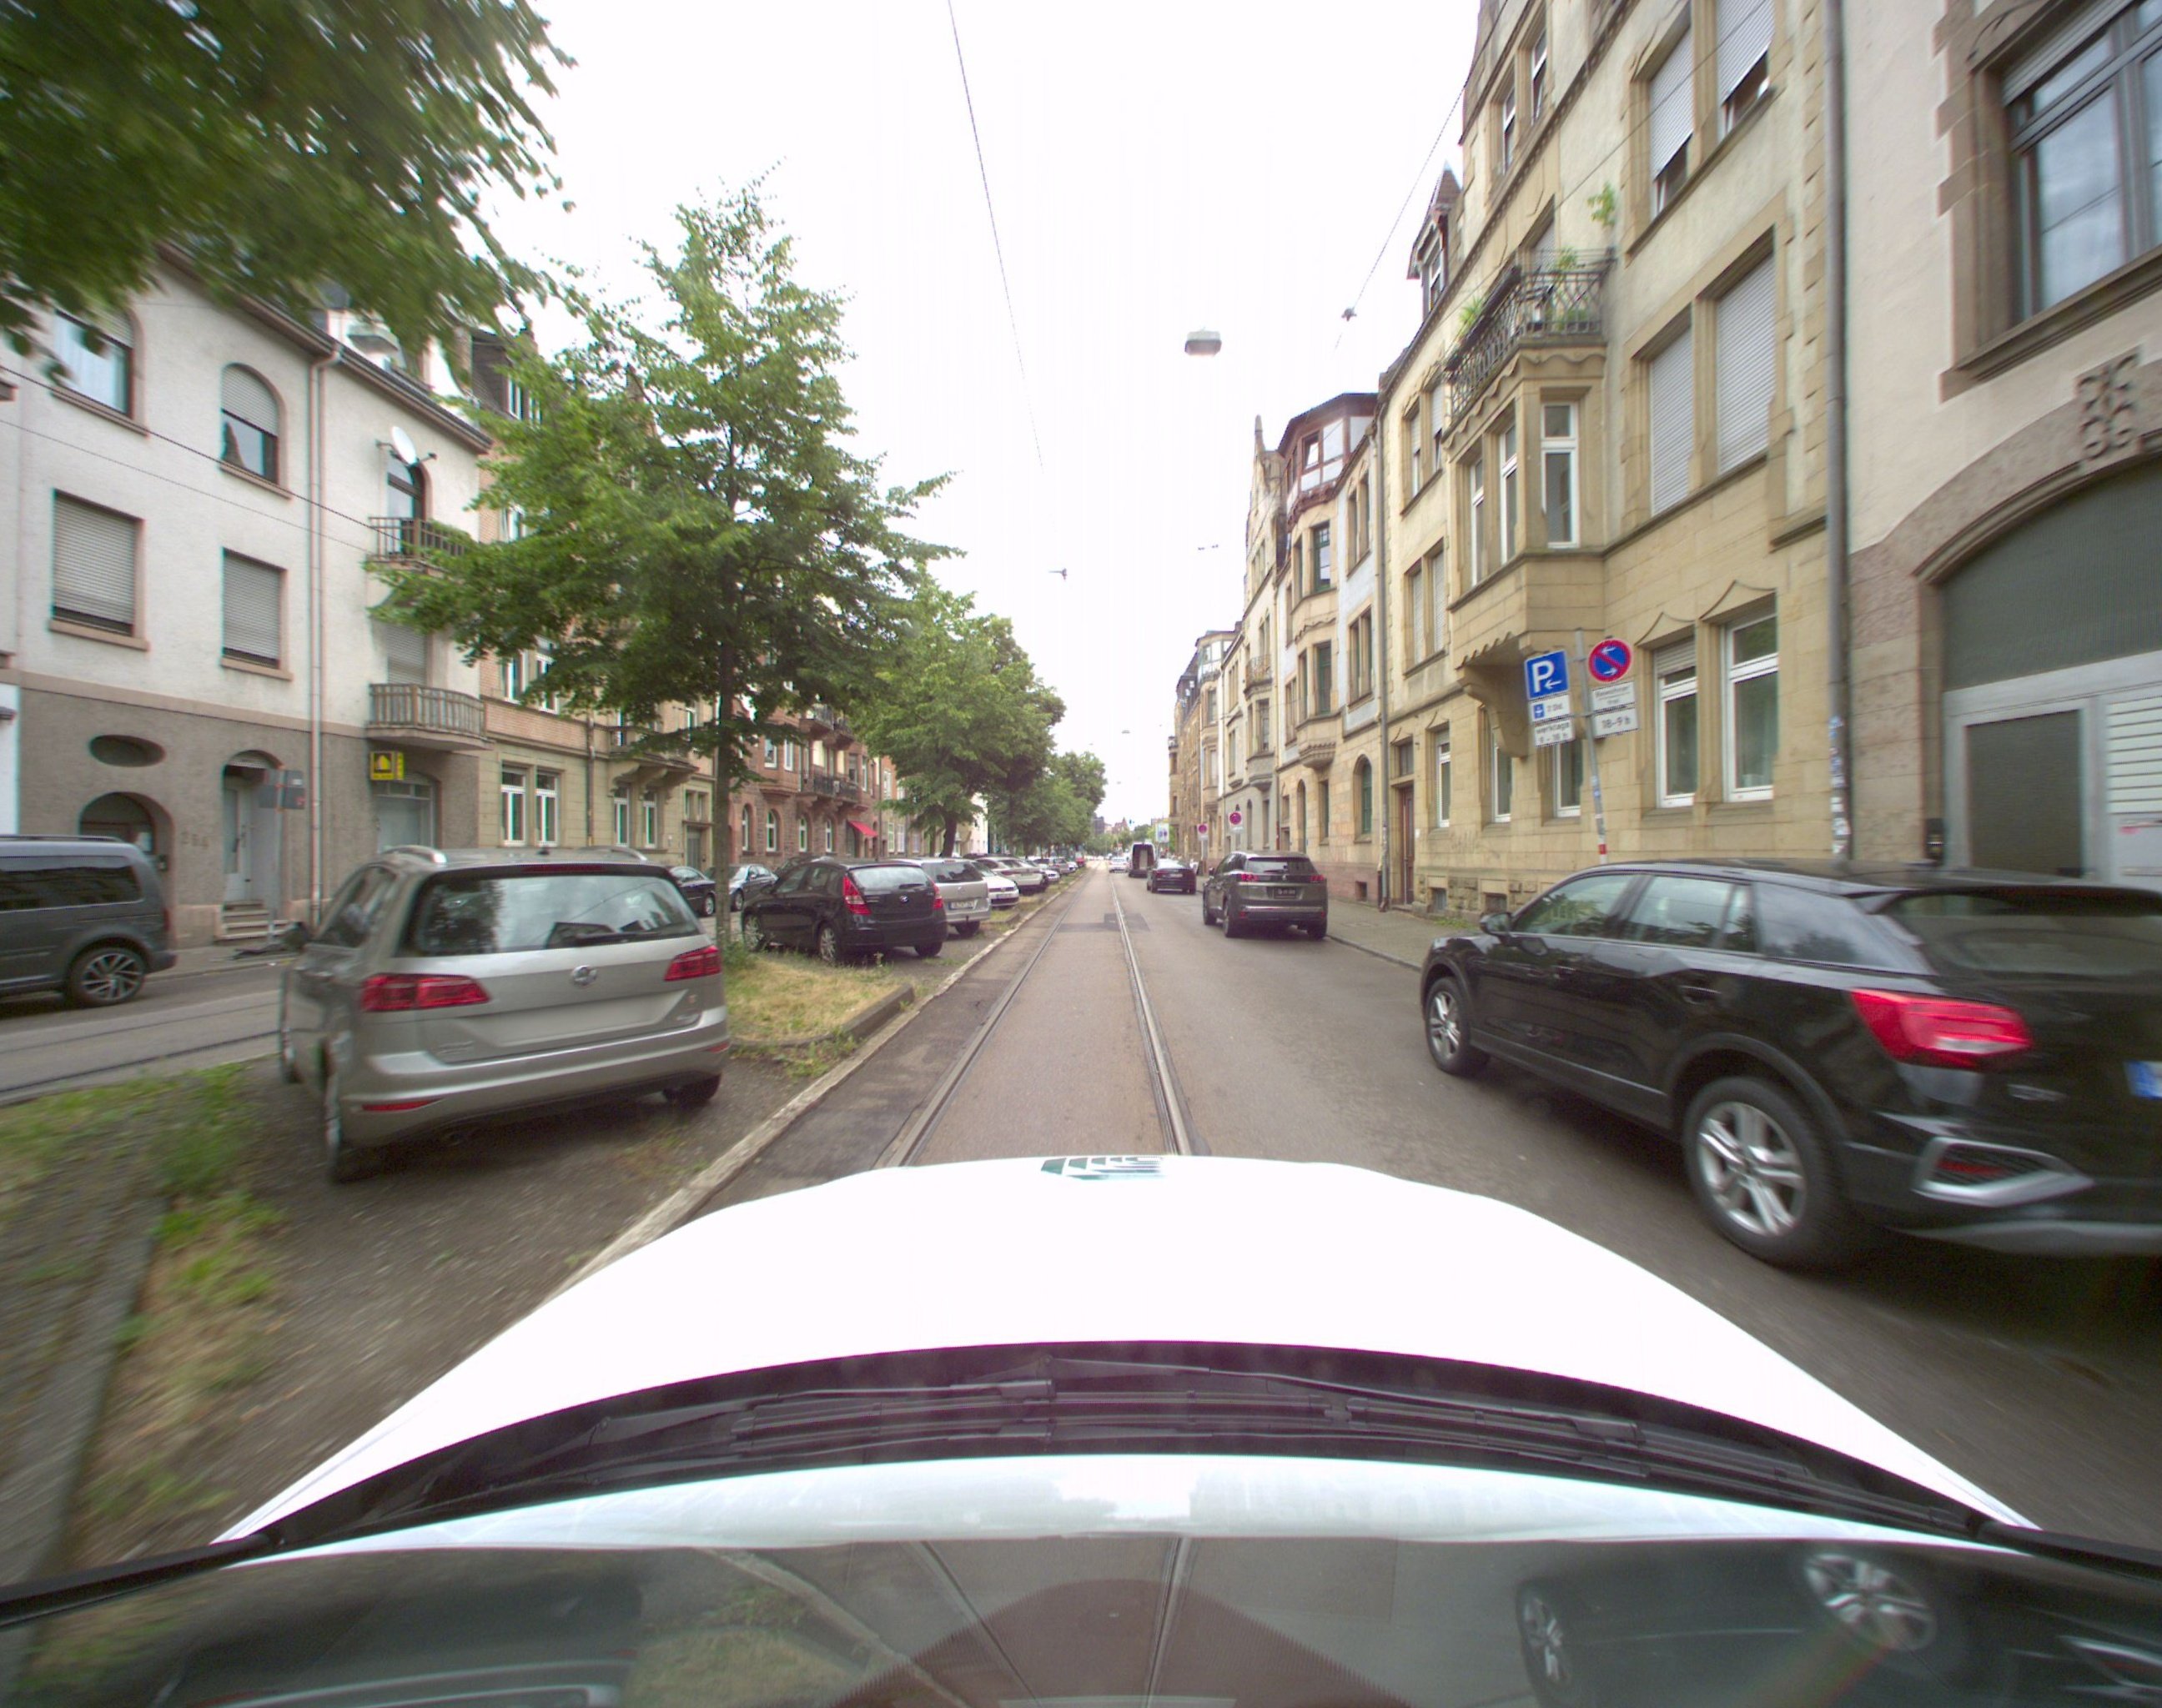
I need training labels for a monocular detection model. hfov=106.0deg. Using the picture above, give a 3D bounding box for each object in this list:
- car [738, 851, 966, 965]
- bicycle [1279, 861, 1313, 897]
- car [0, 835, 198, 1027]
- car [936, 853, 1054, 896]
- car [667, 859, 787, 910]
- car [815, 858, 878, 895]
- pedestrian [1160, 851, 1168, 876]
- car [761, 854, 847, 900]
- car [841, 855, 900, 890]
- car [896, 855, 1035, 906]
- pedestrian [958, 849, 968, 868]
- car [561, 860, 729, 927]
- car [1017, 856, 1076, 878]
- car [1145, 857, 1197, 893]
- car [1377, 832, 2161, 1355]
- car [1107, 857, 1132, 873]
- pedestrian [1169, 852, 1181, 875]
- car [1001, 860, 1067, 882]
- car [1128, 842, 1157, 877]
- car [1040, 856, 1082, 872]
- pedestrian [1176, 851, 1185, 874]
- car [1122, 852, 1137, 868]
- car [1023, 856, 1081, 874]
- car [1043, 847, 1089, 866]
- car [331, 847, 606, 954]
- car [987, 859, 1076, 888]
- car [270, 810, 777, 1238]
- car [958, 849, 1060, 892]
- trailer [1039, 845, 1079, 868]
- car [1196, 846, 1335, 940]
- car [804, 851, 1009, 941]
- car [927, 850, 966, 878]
[{"bbox_3d":[-3.680,0.704,12.659,1.786,1.485,3.951,0,0,-43],"label":"car"},{"bbox_3d":[7.126,0.812,27.061,0.609,1.126,1.916,2,0,1],"label":"bicycle"},{"bbox_3d":[-11.454,0.760,7.434,1.843,1.870,4.433,-1,0,2],"label":"car"},{"bbox_3d":[-3.276,0.736,30.490,2.047,1.490,4.485,0,-1,-45],"label":"car"},{"bbox_3d":[-10.833,0.879,25.256,1.798,1.438,4.230,0,-1,1],"label":"car"},{"bbox_3d":[-10.421,0.957,36.396,1.656,1.560,3.723,0,-1,1],"label":"car"},{"bbox_3d":[6.260,0.697,61.563,0.497,1.815,0.803,-3,0,3],"label":"pedestrian"},{"bbox_3d":[-10.578,0.853,31.438,1.762,1.628,4.321,0,-1,1],"label":"car"},{"bbox_3d":[-10.579,0.913,41.224,1.734,1.626,4.554,0,-1,1],"label":"car"},{"bbox_3d":[-3.347,0.680,23.185,1.874,1.312,4.079,0,0,-44],"label":"car"},{"bbox_3d":[-11.336,0.432,78.449,0.795,1.766,0.900,-1,-1,0],"label":"pedestrian"},{"bbox_3d":[-10.720,0.899,20.450,1.798,1.490,4.388,0,-1,1],"label":"car"},{"bbox_3d":[-2.494,0.916,58.134,4.065,1.484,1.808,0,0,42],"label":"car"},{"bbox_3d":[3.846,0.850,35.564,1.794,1.438,5.197,0,0,1],"label":"car"},{"bbox_3d":[3.348,0.722,4.611,1.692,1.513,4.419,2,0,0],"label":"car"},{"bbox_3d":[3.664,1.024,77.138,1.771,1.472,4.022,0,0,11],"label":"car"},{"bbox_3d":[7.015,0.696,60.805,0.706,1.700,0.489,-3,0,-26],"label":"pedestrian"},{"bbox_3d":[-2.793,0.960,47.779,1.678,1.202,3.914,0,0,-45],"label":"car"},{"bbox_3d":[4.655,0.395,62.782,2.005,2.549,7.021,1,0,3],"label":"car"},{"bbox_3d":[-1.872,0.920,76.170,3.815,1.463,1.700,-1,0,44],"label":"car"},{"bbox_3d":[7.515,0.649,61.641,0.507,1.717,0.579,-3,0,-8],"label":"pedestrian"},{"bbox_3d":[5.770,0.708,97.561,1.775,1.962,4.386,0,0,3],"label":"car"},{"bbox_3d":[-2.401,0.872,65.810,4.628,1.435,1.911,-1,0,41],"label":"car"},{"bbox_3d":[-1.618,0.313,86.888,4.707,1.974,1.972,-1,0,40],"label":"car"},{"bbox_3d":[-10.977,0.756,15.080,1.798,1.680,4.273,0,-1,1],"label":"car"},{"bbox_3d":[-2.517,0.942,40.616,4.610,1.368,1.768,0,0,44],"label":"car"},{"bbox_3d":[-3.742,0.691,5.126,4.154,1.609,1.735,-2,-2,43],"label":"car"},{"bbox_3d":[-3.031,0.668,33.706,1.775,1.633,4.477,0,-1,-45],"label":"car"},{"bbox_3d":[-2.292,0.287,83.997,3.624,2.344,1.943,-1,0,34],"label":"trailer"},{"bbox_3d":[3.527,0.667,16.469,1.753,1.622,4.694,0,0,0],"label":"car"},{"bbox_3d":[-3.540,0.719,15.920,1.874,1.493,4.510,1,-1,-43],"label":"car"},{"bbox_3d":[-9.773,0.738,59.452,1.874,1.952,5.094,0,-1,1],"label":"car"}]
